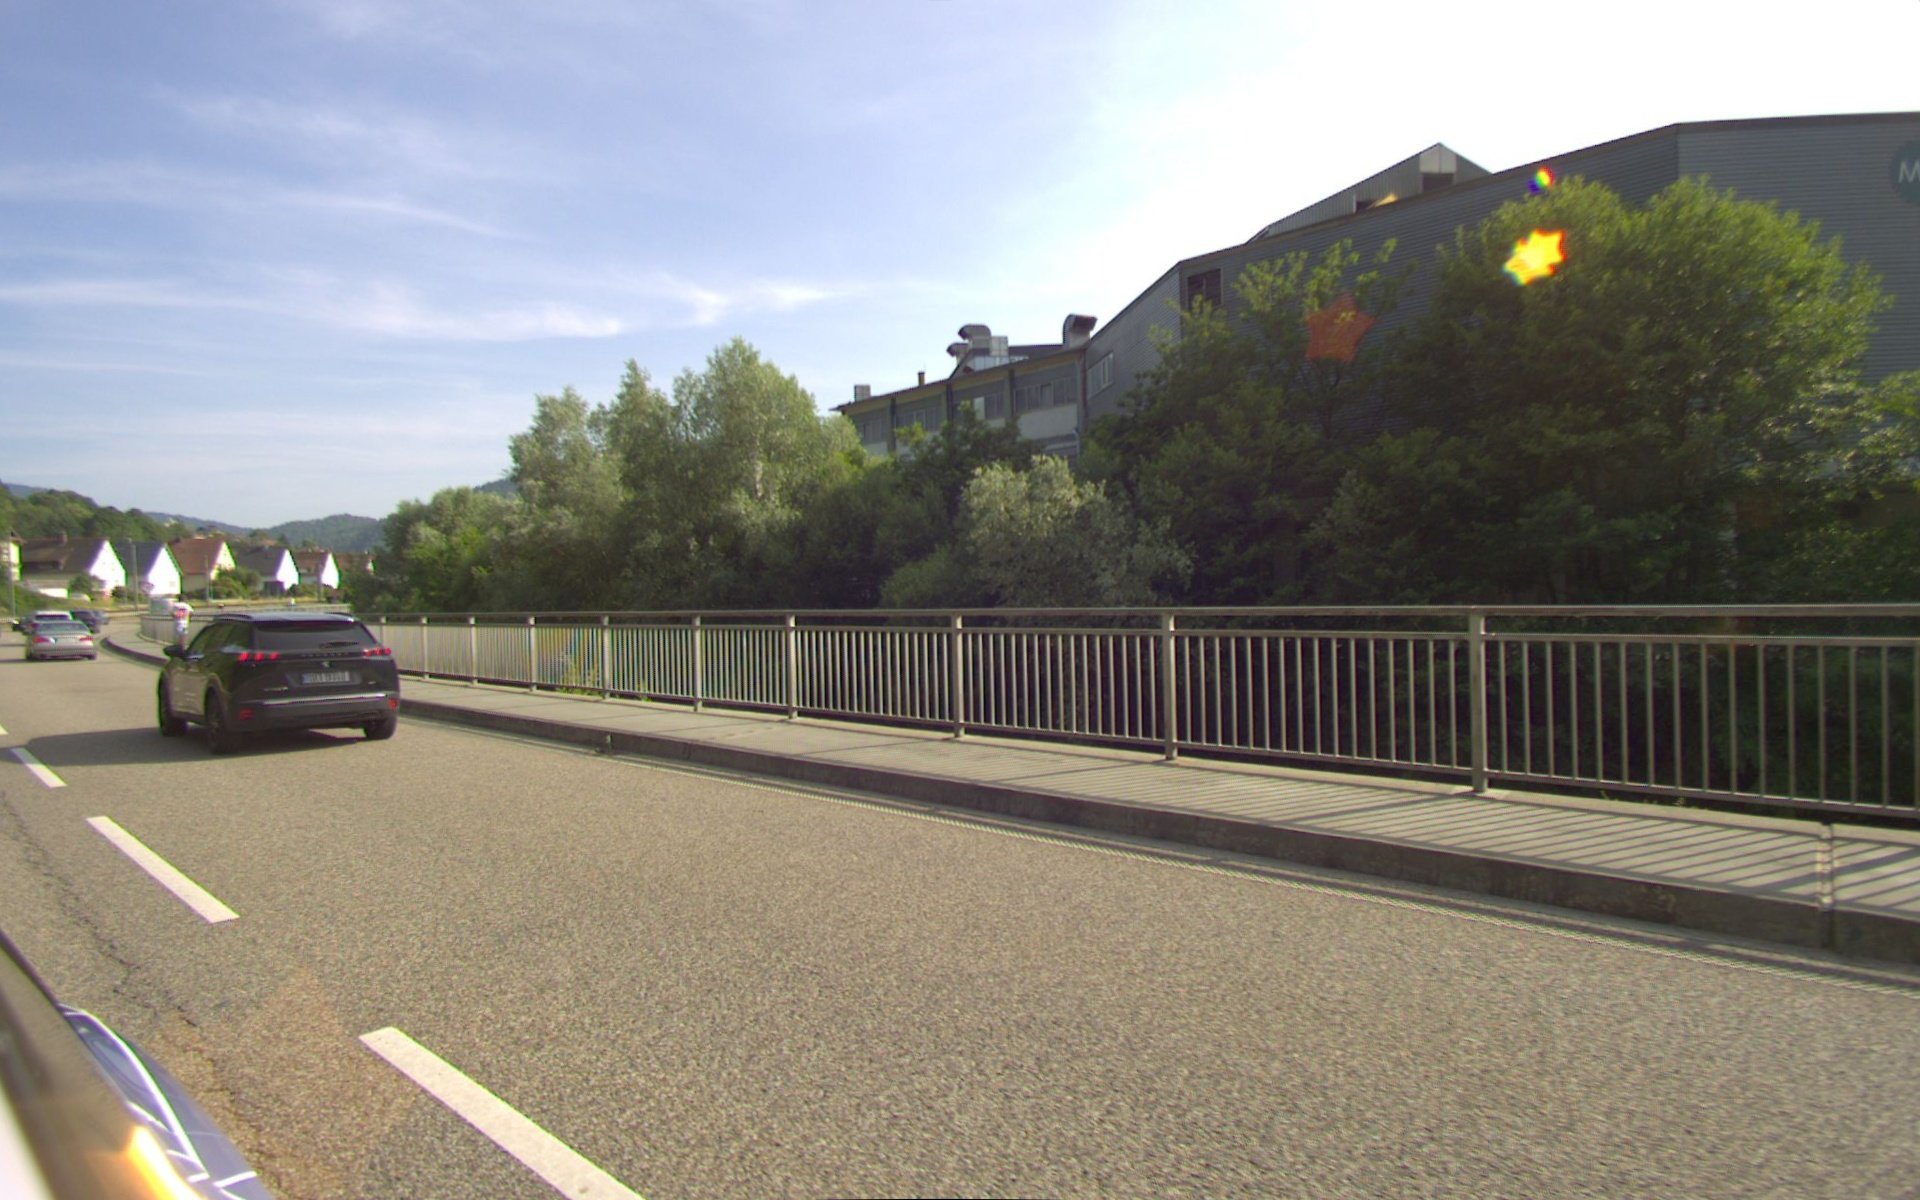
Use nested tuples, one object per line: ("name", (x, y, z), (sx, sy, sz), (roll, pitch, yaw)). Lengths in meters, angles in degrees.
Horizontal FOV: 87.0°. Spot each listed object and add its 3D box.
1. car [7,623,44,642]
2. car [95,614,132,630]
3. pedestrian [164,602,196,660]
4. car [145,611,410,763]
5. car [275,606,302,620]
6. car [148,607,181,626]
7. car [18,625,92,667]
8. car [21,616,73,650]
("car", (-70.388, 2.454, 76.242), (1.626, 1.443, 3.340), (1, -2, -36))
("car", (-92.324, 2.405, 110.410), (1.965, 1.693, 4.013), (1, -2, -24))
("pedestrian", (-25.111, 0.979, 32.580), (0.709, 1.832, 0.877), (-1, 0, -44))
("car", (-8.240, 0.909, 12.090), (3.861, 1.490, 1.771), (-1, 0, 43))
("car", (-93.952, 1.825, 141.612), (1.967, 1.874, 4.011), (-1, 0, -14))
("car", (-82.702, 1.685, 105.218), (1.965, 1.874, 4.013), (-1, 0, -27))
("car", (-30.294, 1.513, 33.859), (3.501, 1.320, 1.567), (-1, -2, 44))
("car", (-44.752, 1.614, 49.582), (1.701, 1.596, 3.502), (2, -2, -45))
